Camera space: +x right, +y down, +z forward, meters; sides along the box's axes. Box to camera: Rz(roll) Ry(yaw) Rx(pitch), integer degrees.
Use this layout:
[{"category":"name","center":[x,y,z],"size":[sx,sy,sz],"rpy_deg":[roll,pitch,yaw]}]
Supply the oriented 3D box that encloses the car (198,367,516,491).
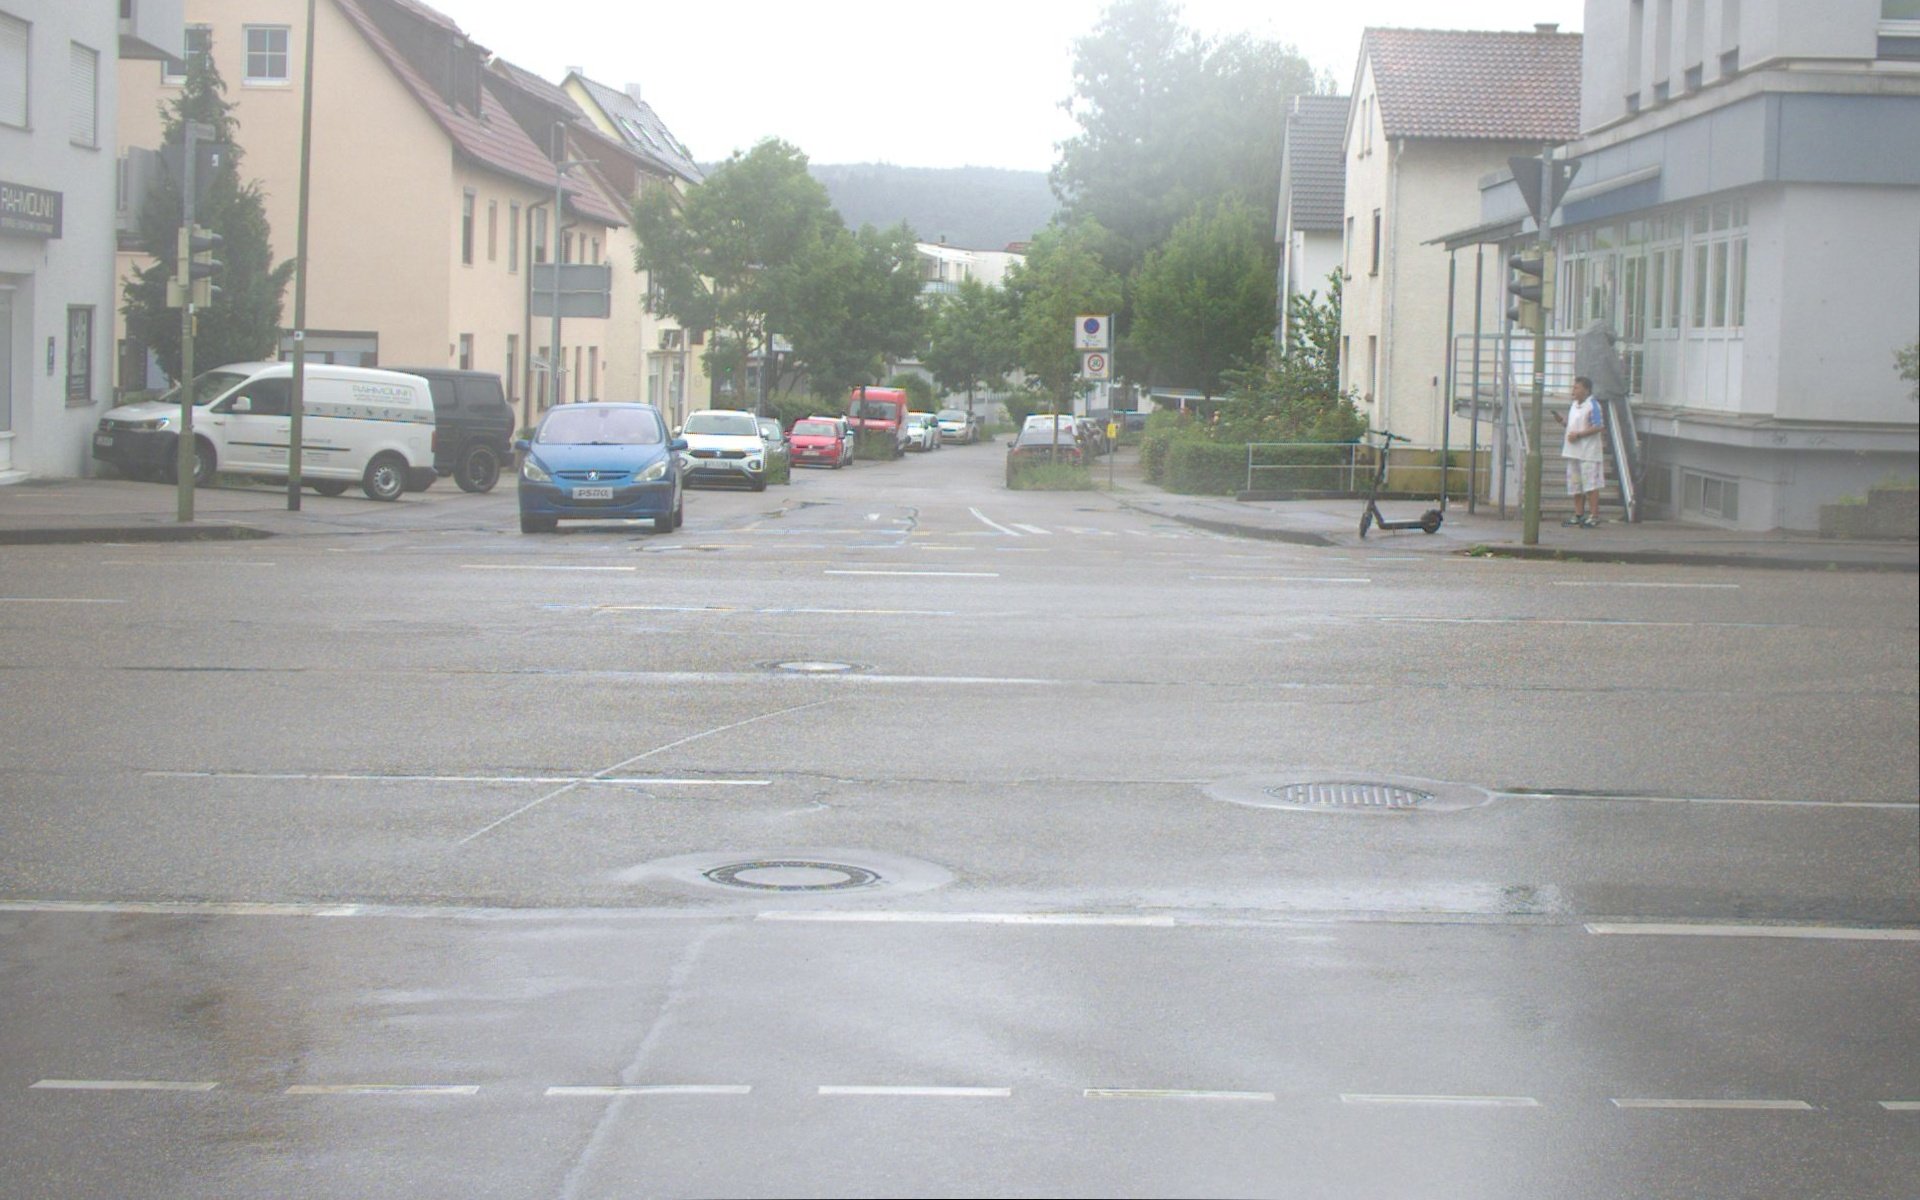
[{"category":"car","center":[-9.561,-2.699,54.659],"size":[4.608,1.882,1.963],"rpy_deg":[-2,3,-39]}]

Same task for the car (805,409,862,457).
[{"category":"car","center":[-4.150,-5.441,112.162],"size":[1.767,1.513,4.001],"rpy_deg":[0,3,-3]}]

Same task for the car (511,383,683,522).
[{"category":"car","center":[-4.137,-1.661,39.662],"size":[1.767,1.440,4.001],"rpy_deg":[1,1,-3]}]

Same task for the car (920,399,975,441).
[{"category":"car","center":[-0.549,-8.093,154.596],"size":[1.994,1.700,3.999],"rpy_deg":[1,1,6]}]

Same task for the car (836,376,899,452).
[{"category":"car","center":[-3.385,-6.859,127.209],"size":[2.216,2.759,5.726],"rpy_deg":[0,3,-1]}]

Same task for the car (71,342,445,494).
[{"category":"car","center":[-9.673,-2.484,47.571],"size":[4.715,1.772,1.772],"rpy_deg":[2,1,-39]}]

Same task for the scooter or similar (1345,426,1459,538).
[{"category":"scooter or similar","center":[4.952,-1.317,38.548],"size":[1.058,1.223,0.802],"rpy_deg":[1,0,-9]}]

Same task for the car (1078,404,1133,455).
[{"category":"car","center":[5.829,-6.805,137.182],"size":[1.994,2.006,4.000],"rpy_deg":[1,3,5]}]

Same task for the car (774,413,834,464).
[{"category":"car","center":[-4.744,-4.909,104.366],"size":[1.767,1.513,4.001],"rpy_deg":[0,3,-3]}]

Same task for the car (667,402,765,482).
[{"category":"car","center":[-4.788,-3.114,67.835],"size":[1.767,1.518,4.001],"rpy_deg":[0,3,-2]}]

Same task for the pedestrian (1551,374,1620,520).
[{"category":"pedestrian","center":[7.186,-1.749,39.536],"size":[0.654,1.646,0.646],"rpy_deg":[1,0,0]}]

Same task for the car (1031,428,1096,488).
[{"category":"car","center":[3.589,-4.915,118.739],"size":[1.994,2.006,4.000],"rpy_deg":[1,3,5]}]

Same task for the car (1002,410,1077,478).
[{"category":"car","center":[2.417,-4.702,103.499],"size":[1.994,2.006,4.000],"rpy_deg":[1,3,5]}]

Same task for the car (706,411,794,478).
[{"category":"car","center":[-4.820,-3.590,79.367],"size":[1.767,1.513,4.195],"rpy_deg":[0,3,0]}]

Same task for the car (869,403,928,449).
[{"category":"car","center":[-2.478,-7.009,138.692],"size":[1.994,1.678,3.999],"rpy_deg":[1,1,5]}]

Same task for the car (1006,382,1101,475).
[{"category":"car","center":[2.238,-4.041,81.442],"size":[1.994,2.007,3.999],"rpy_deg":[1,1,5]}]

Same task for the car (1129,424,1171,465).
[{"category":"car","center":[9.423,-7.700,170.304],"size":[1.994,2.006,4.000],"rpy_deg":[1,3,5]}]

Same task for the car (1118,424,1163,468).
[{"category":"car","center":[8.497,-7.241,161.805],"size":[1.994,2.006,4.000],"rpy_deg":[1,3,5]}]
